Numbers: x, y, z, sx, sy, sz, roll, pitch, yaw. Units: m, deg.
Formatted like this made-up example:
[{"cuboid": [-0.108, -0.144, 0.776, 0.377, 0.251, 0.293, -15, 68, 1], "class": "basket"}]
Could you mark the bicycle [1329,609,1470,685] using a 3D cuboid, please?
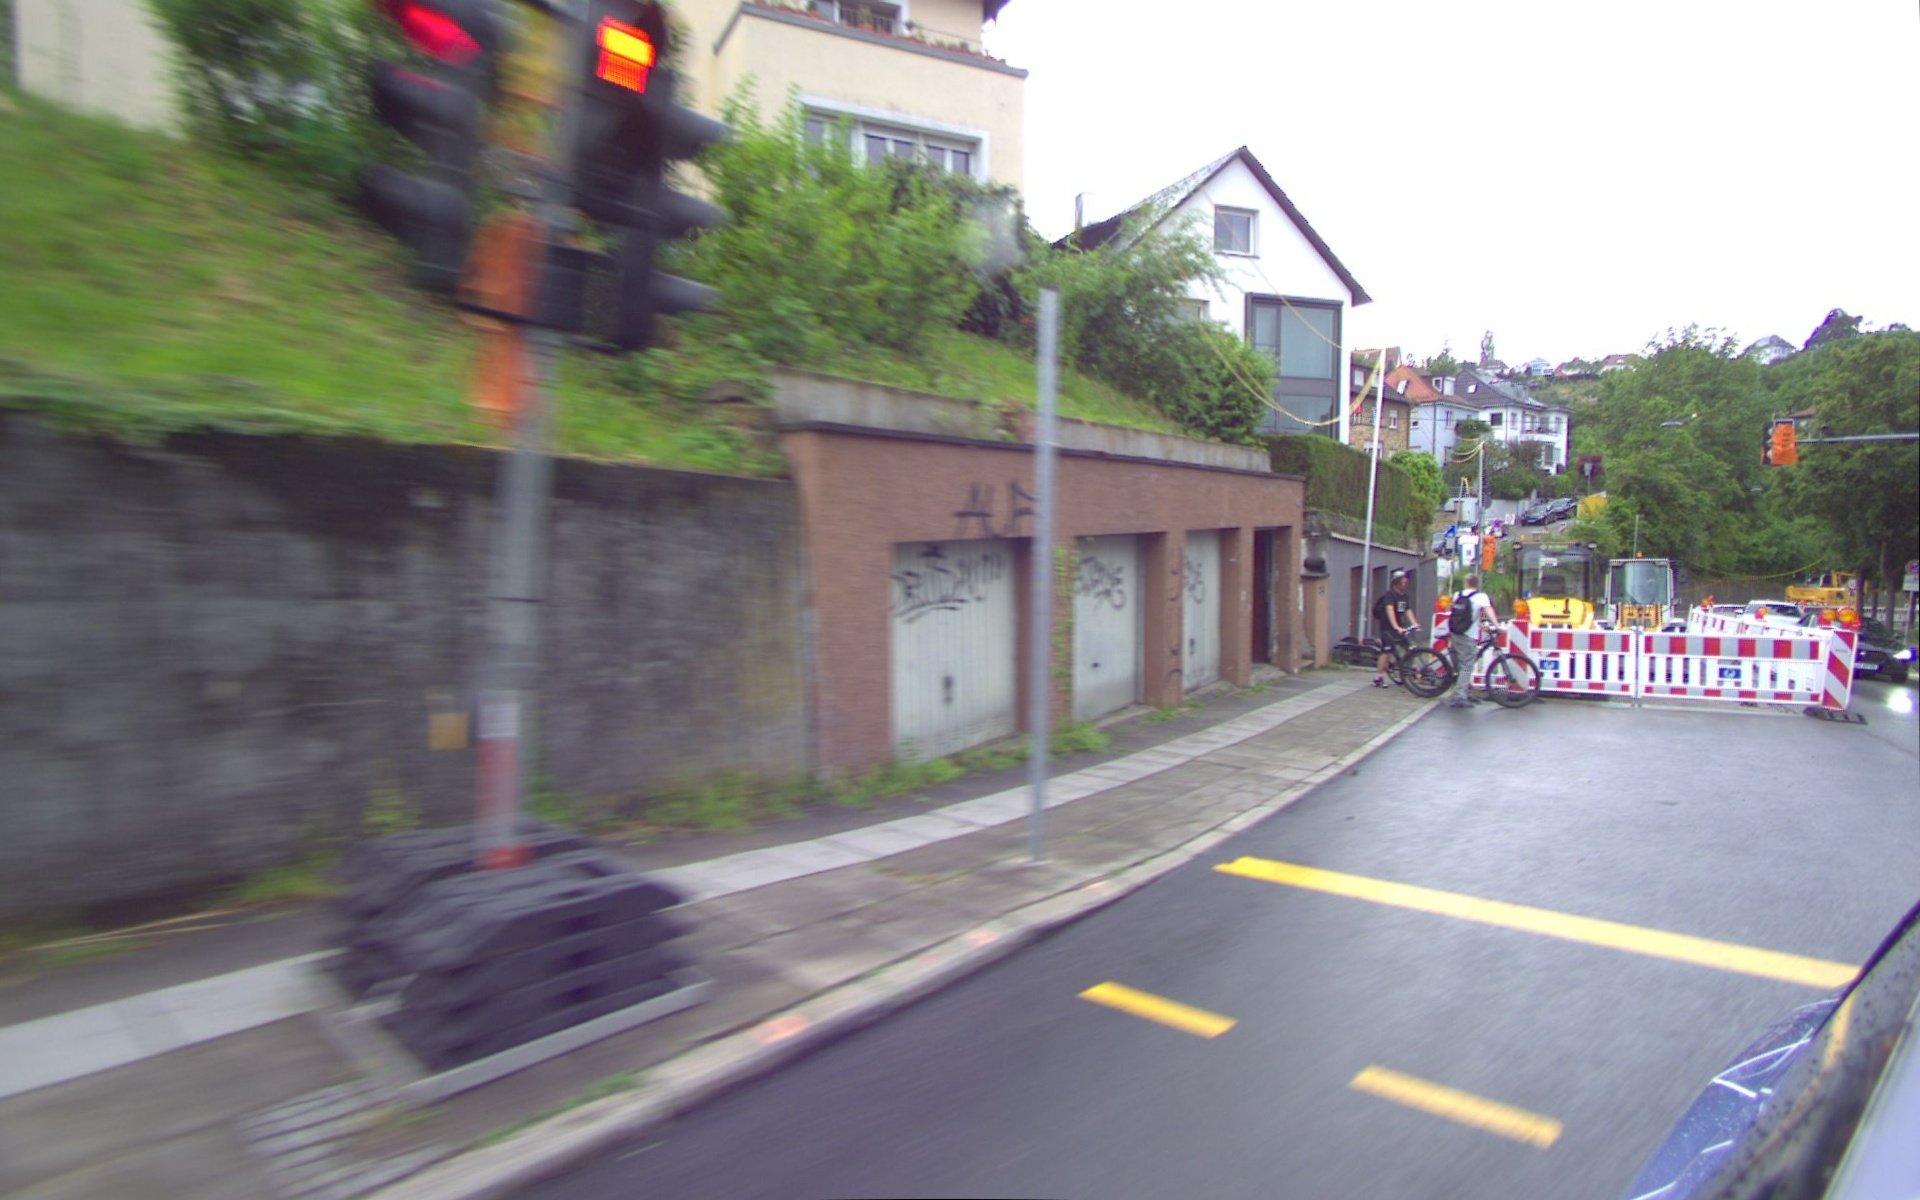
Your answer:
[{"cuboid": [6.721, 0.687, 15.584, 0.913, 0.993, 1.834, 1, 2, -23], "class": "bicycle"}]

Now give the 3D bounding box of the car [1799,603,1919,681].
[{"cuboid": [21.158, 0.910, 23.617, 1.832, 1.420, 4.025, 5, 4, 32], "class": "car"}]

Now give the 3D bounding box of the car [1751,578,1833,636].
[{"cuboid": [29.060, 0.178, 35.399, 1.993, 1.729, 4.510, 5, 5, 39], "class": "car"}]

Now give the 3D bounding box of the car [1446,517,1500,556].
[{"cuboid": [35.020, -4.343, 69.030, 4.362, 2.099, 1.899, -12, 13, -42], "class": "car"}]

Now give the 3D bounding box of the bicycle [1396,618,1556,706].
[{"cuboid": [7.024, 0.816, 13.906, 1.864, 0.993, 0.925, 3, 2, 25], "class": "bicycle"}]

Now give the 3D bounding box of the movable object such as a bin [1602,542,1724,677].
[{"cuboid": [17.058, 0.041, 24.827, 2.078, 2.871, 5.613, 4, 5, 32], "class": "movable object such as a bin"}]

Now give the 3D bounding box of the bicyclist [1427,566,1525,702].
[{"cuboid": [7.048, 0.427, 13.887, 1.066, 1.749, 0.925, 3, 2, 24], "class": "bicyclist"}]

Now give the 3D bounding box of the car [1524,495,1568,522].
[{"cuboid": [45.795, -7.185, 79.034, 3.905, 1.652, 1.858, -13, 14, -42], "class": "car"}]

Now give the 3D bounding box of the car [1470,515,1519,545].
[{"cuboid": [38.027, -5.031, 71.958, 3.904, 1.652, 1.858, -12, 13, -42], "class": "car"}]

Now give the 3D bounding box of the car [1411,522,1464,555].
[{"cuboid": [30.951, -4.022, 65.540, 3.775, 1.652, 1.858, -12, 13, -42], "class": "car"}]

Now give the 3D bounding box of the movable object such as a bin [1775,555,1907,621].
[{"cuboid": [56.907, -0.785, 65.371, 7.052, 3.885, 3.341, 1, 4, -22], "class": "movable object such as a bin"}]

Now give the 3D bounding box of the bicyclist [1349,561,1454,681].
[{"cuboid": [6.750, 0.300, 15.521, 0.913, 1.749, 1.079, 1, 2, -23], "class": "bicyclist"}]

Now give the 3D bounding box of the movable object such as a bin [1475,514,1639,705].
[{"cuboid": [10.817, 0.101, 18.253, 2.078, 2.873, 5.610, 4, 2, 32], "class": "movable object such as a bin"}]
